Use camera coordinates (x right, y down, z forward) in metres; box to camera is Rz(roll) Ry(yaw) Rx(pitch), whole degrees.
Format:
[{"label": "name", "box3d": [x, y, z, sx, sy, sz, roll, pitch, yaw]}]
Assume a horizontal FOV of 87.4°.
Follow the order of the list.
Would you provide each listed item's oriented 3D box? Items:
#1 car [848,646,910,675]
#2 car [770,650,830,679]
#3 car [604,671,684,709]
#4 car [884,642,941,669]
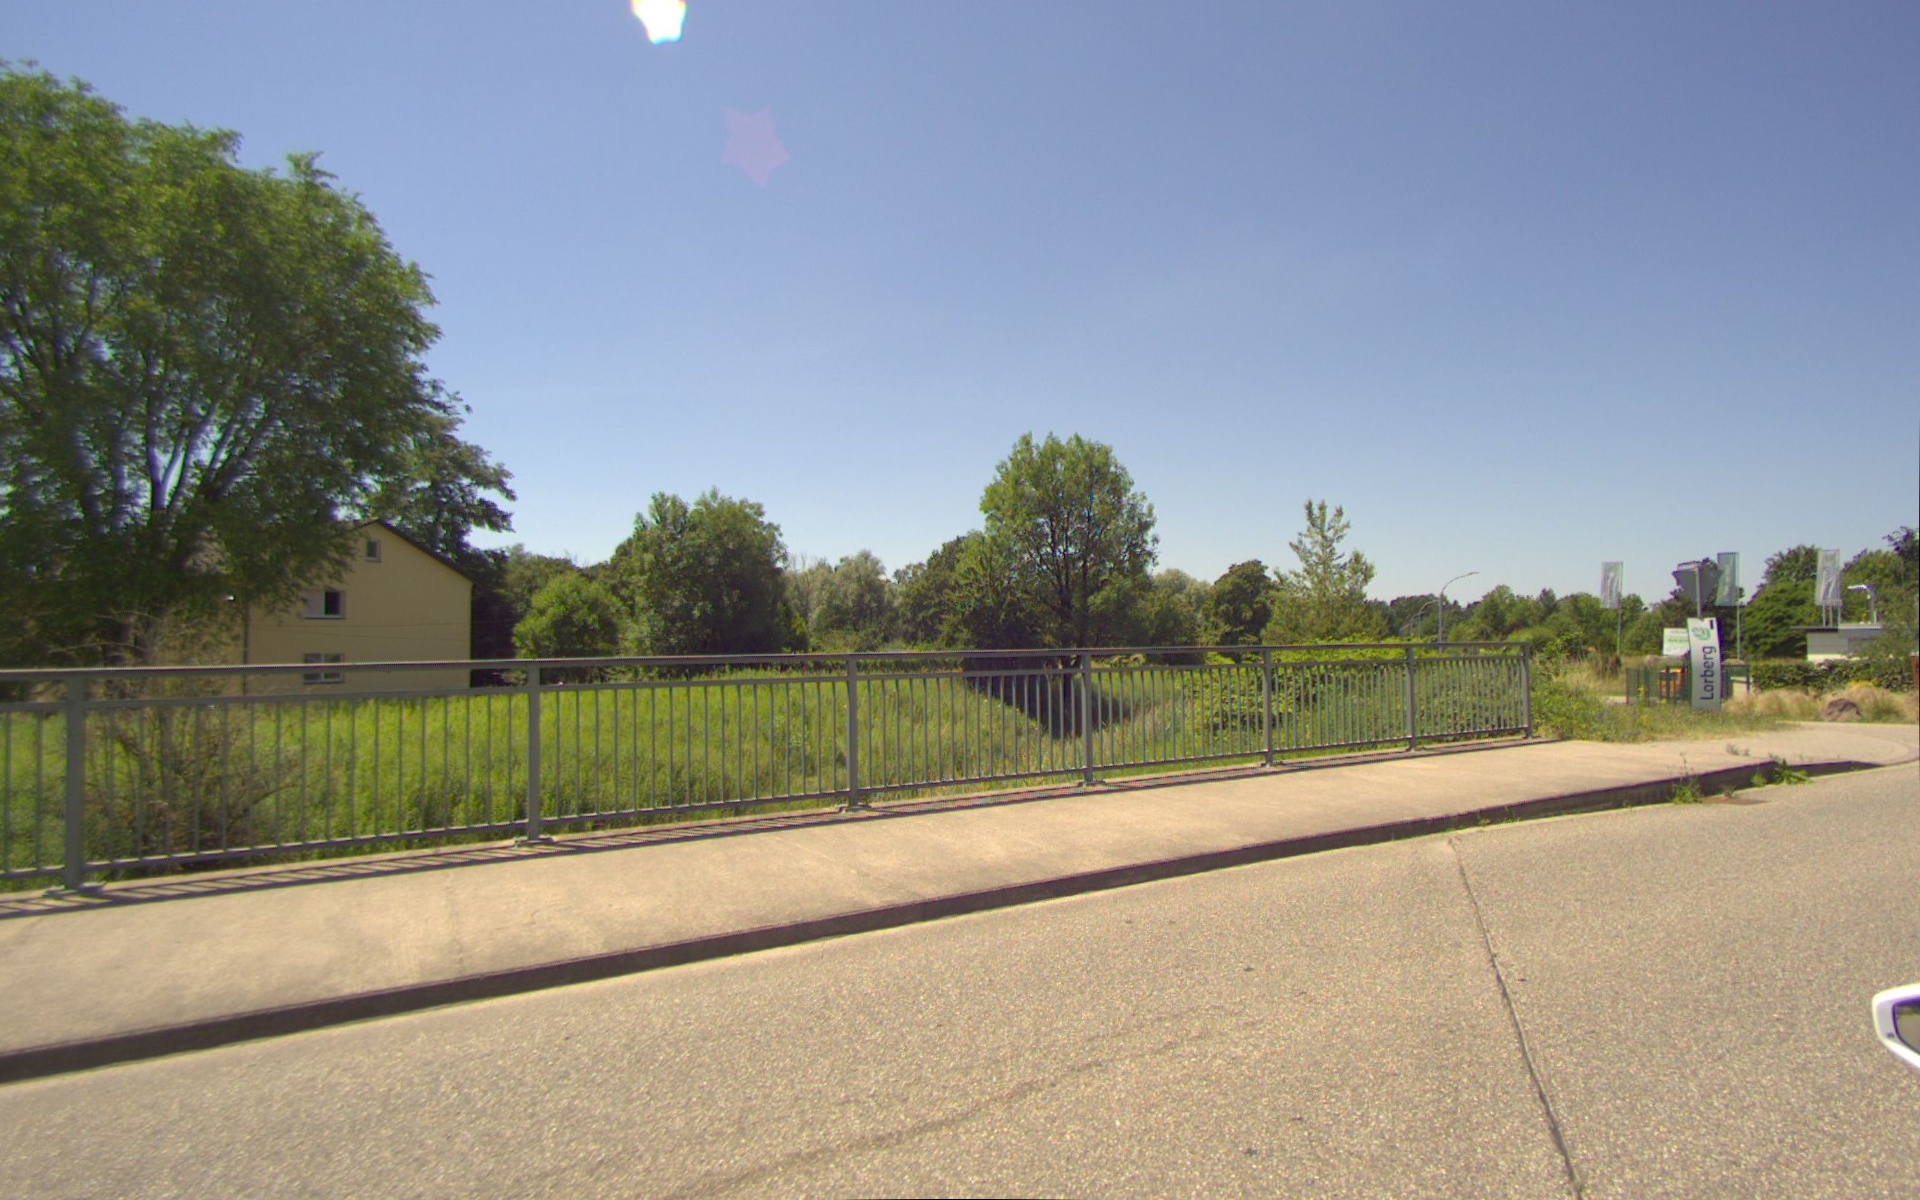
[{"label": "car", "box3d": [-6.006, 4.470, 74.679, 3.923, 2.026, 2.267, -2, -2, 22]}, {"label": "car", "box3d": [-9.455, 3.833, 59.681, 1.960, 1.617, 4.002, -2, -3, 17]}, {"label": "car", "box3d": [-16.289, 4.610, 51.917, 1.840, 1.774, 4.000, -2, -4, 21]}, {"label": "car", "box3d": [-3.775, 4.391, 79.594, 3.923, 2.026, 2.267, -2, -2, 22]}]
